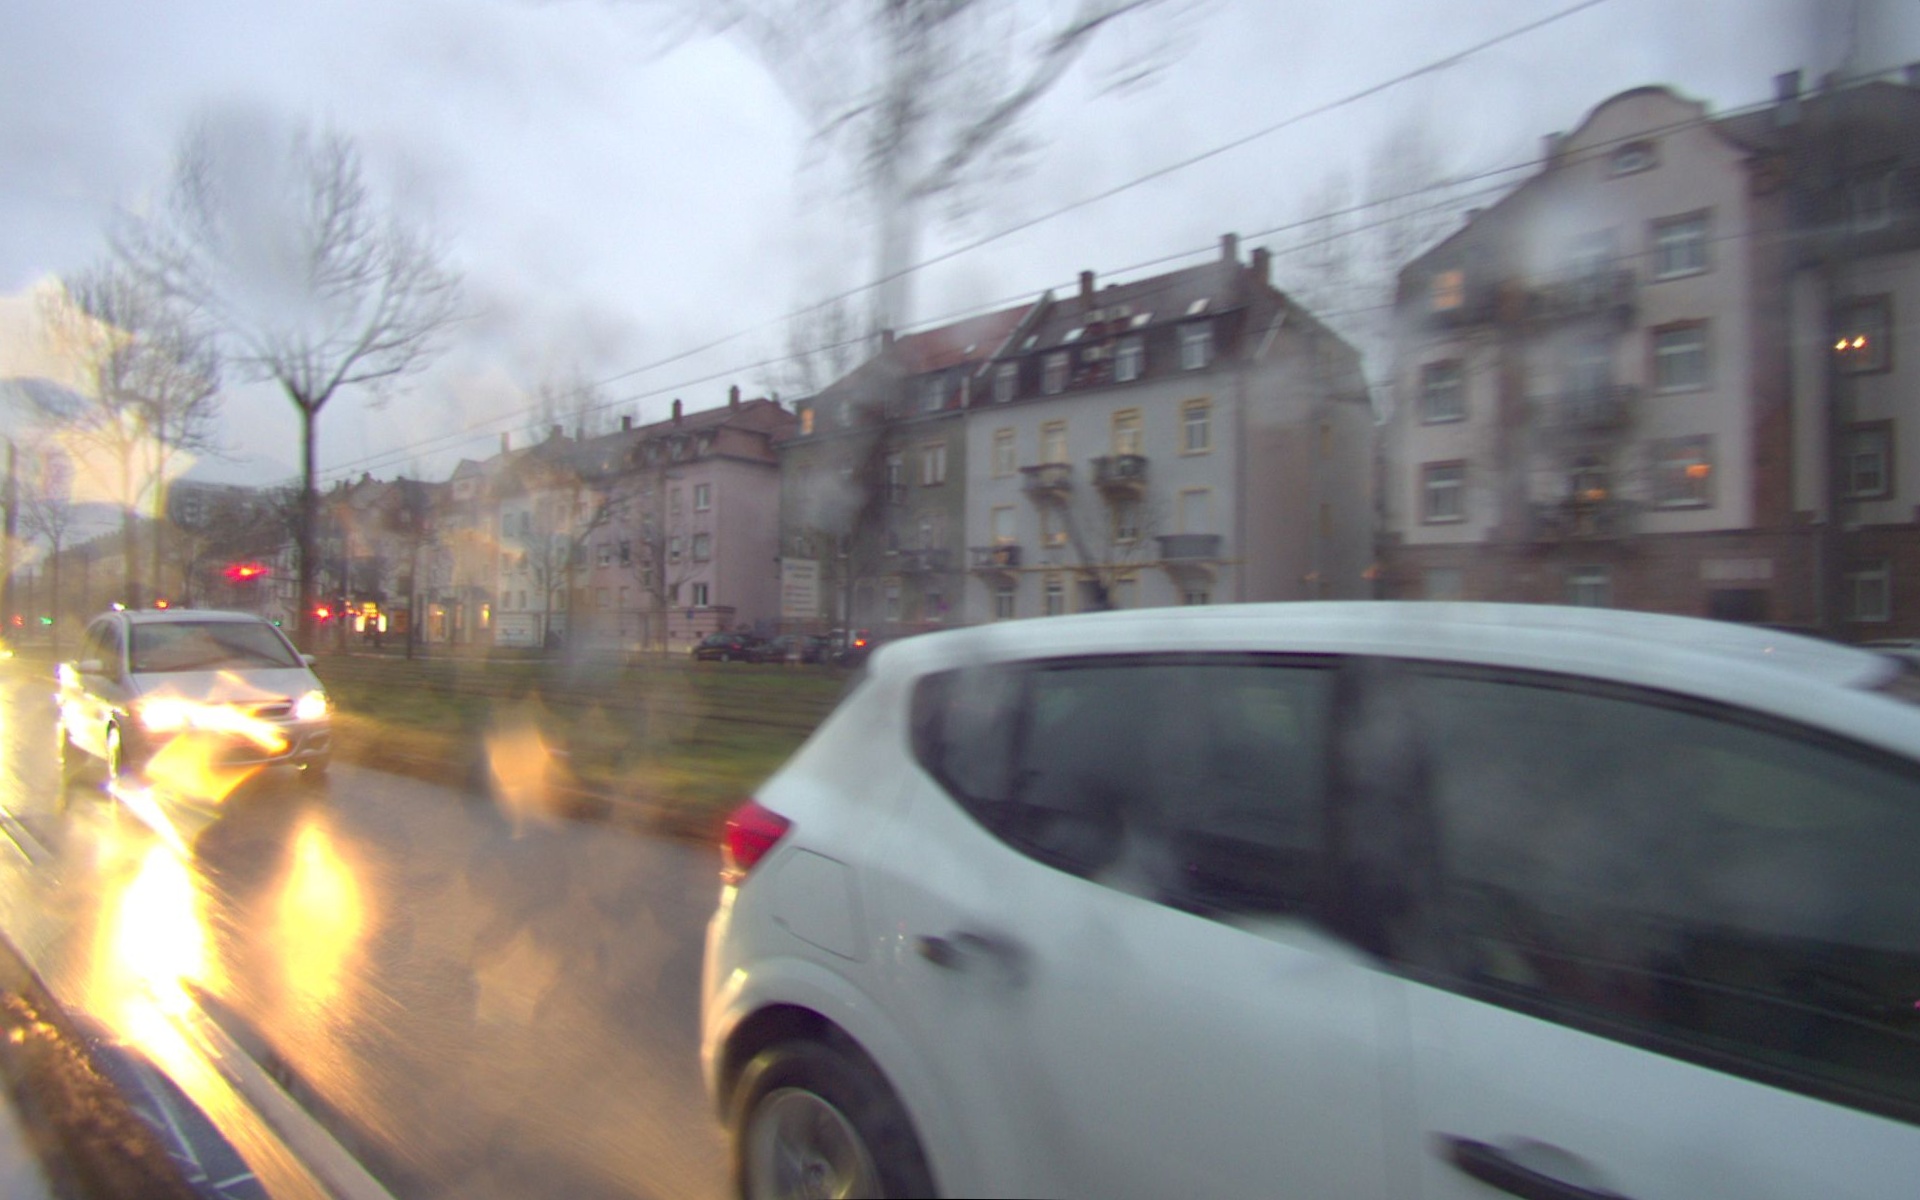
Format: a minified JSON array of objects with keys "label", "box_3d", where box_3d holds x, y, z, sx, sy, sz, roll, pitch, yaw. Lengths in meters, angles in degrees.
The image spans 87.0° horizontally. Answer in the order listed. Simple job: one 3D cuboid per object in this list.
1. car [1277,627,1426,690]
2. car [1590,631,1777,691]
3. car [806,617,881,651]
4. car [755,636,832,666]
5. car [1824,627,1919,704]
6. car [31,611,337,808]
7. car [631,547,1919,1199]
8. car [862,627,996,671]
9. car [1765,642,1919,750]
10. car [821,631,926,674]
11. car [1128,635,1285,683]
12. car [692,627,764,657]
[{"label":"car","box_3d":[10.326,1.503,26.729,3.305,1.428,1.884,-1,1,-24]},{"label":"car","box_3d":[15.432,1.269,21.643,2.870,0.997,1.800,-2,2,-14]},{"label":"car","box_3d":[-5.670,1.643,49.183,3.536,1.563,1.662,-1,0,41]},{"label":"car","box_3d":[-7.459,2.238,45.041,3.899,1.177,1.217,-1,0,42]},{"label":"car","box_3d":[19.032,1.189,19.609,3.978,1.239,1.352,-2,2,-13]},{"label":"car","box_3d":[-7.676,0.895,9.877,3.905,1.531,1.617,-1,0,41]},{"label":"car","box_3d":[1.271,0.695,1.572,4.001,1.485,1.670,-1,0,43]},{"label":"car","box_3d":[-1.138,1.737,36.652,4.586,1.443,1.698,-1,0,-13]},{"label":"car","box_3d":[14.807,1.460,15.501,3.782,1.516,1.529,-1,0,42]},{"label":"car","box_3d":[-3.368,2.013,39.055,3.888,1.459,1.823,-1,0,-9]},{"label":"car","box_3d":[7.379,1.747,30.509,4.198,1.267,1.837,-1,0,-8]},{"label":"car","box_3d":[-11.238,1.990,48.918,3.910,1.350,1.449,-1,0,43]}]
